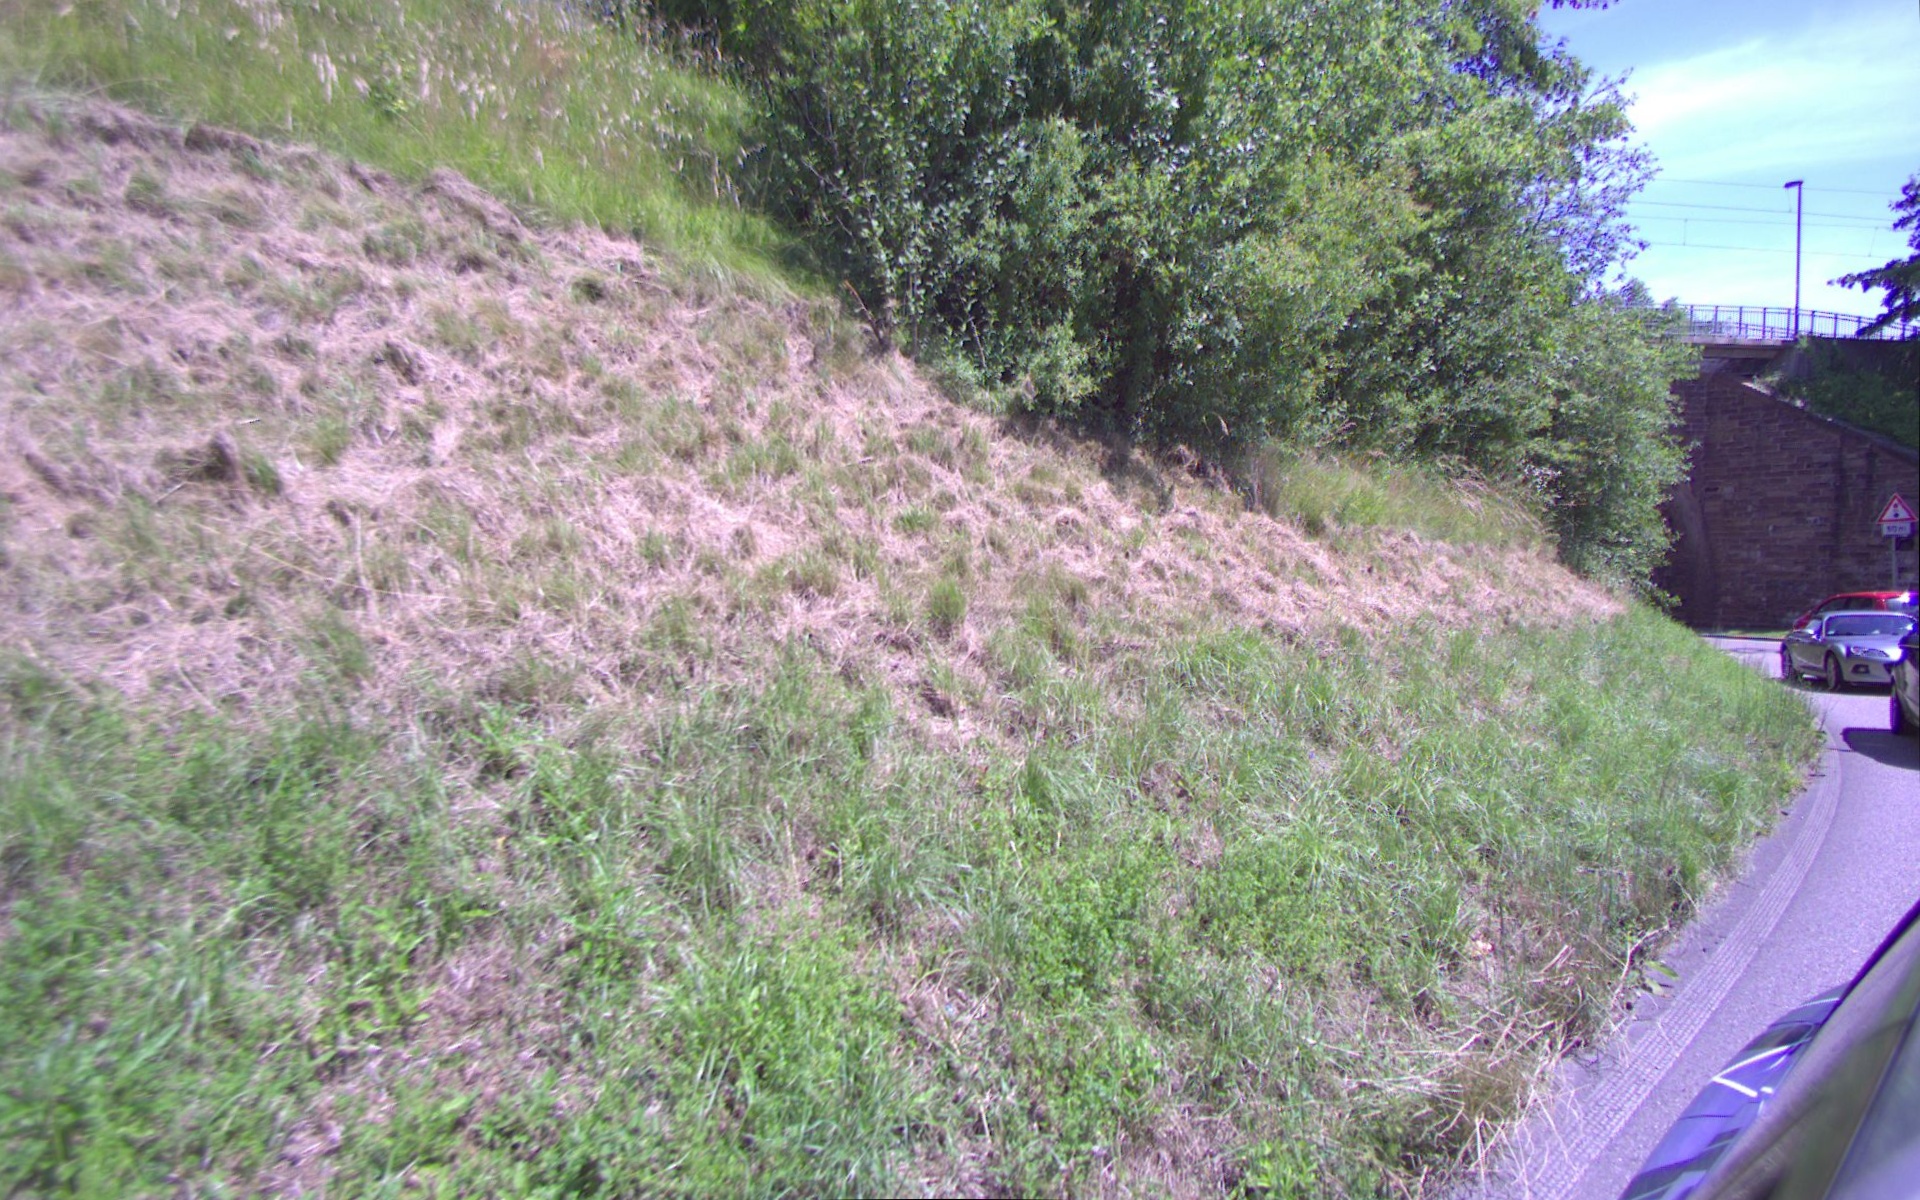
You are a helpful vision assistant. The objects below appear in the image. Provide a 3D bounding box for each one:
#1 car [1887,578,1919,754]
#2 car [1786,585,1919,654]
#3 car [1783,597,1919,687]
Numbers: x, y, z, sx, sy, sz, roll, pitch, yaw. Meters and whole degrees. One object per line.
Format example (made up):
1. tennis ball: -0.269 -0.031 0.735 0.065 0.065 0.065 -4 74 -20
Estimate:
1. car: 9.935 0.607 9.297 1.787 1.599 3.747 1 1 38
2. car: 21.604 0.398 23.897 1.634 1.476 3.626 -2 0 10
3. car: 14.979 0.634 16.581 1.633 1.339 3.404 -1 -1 28
